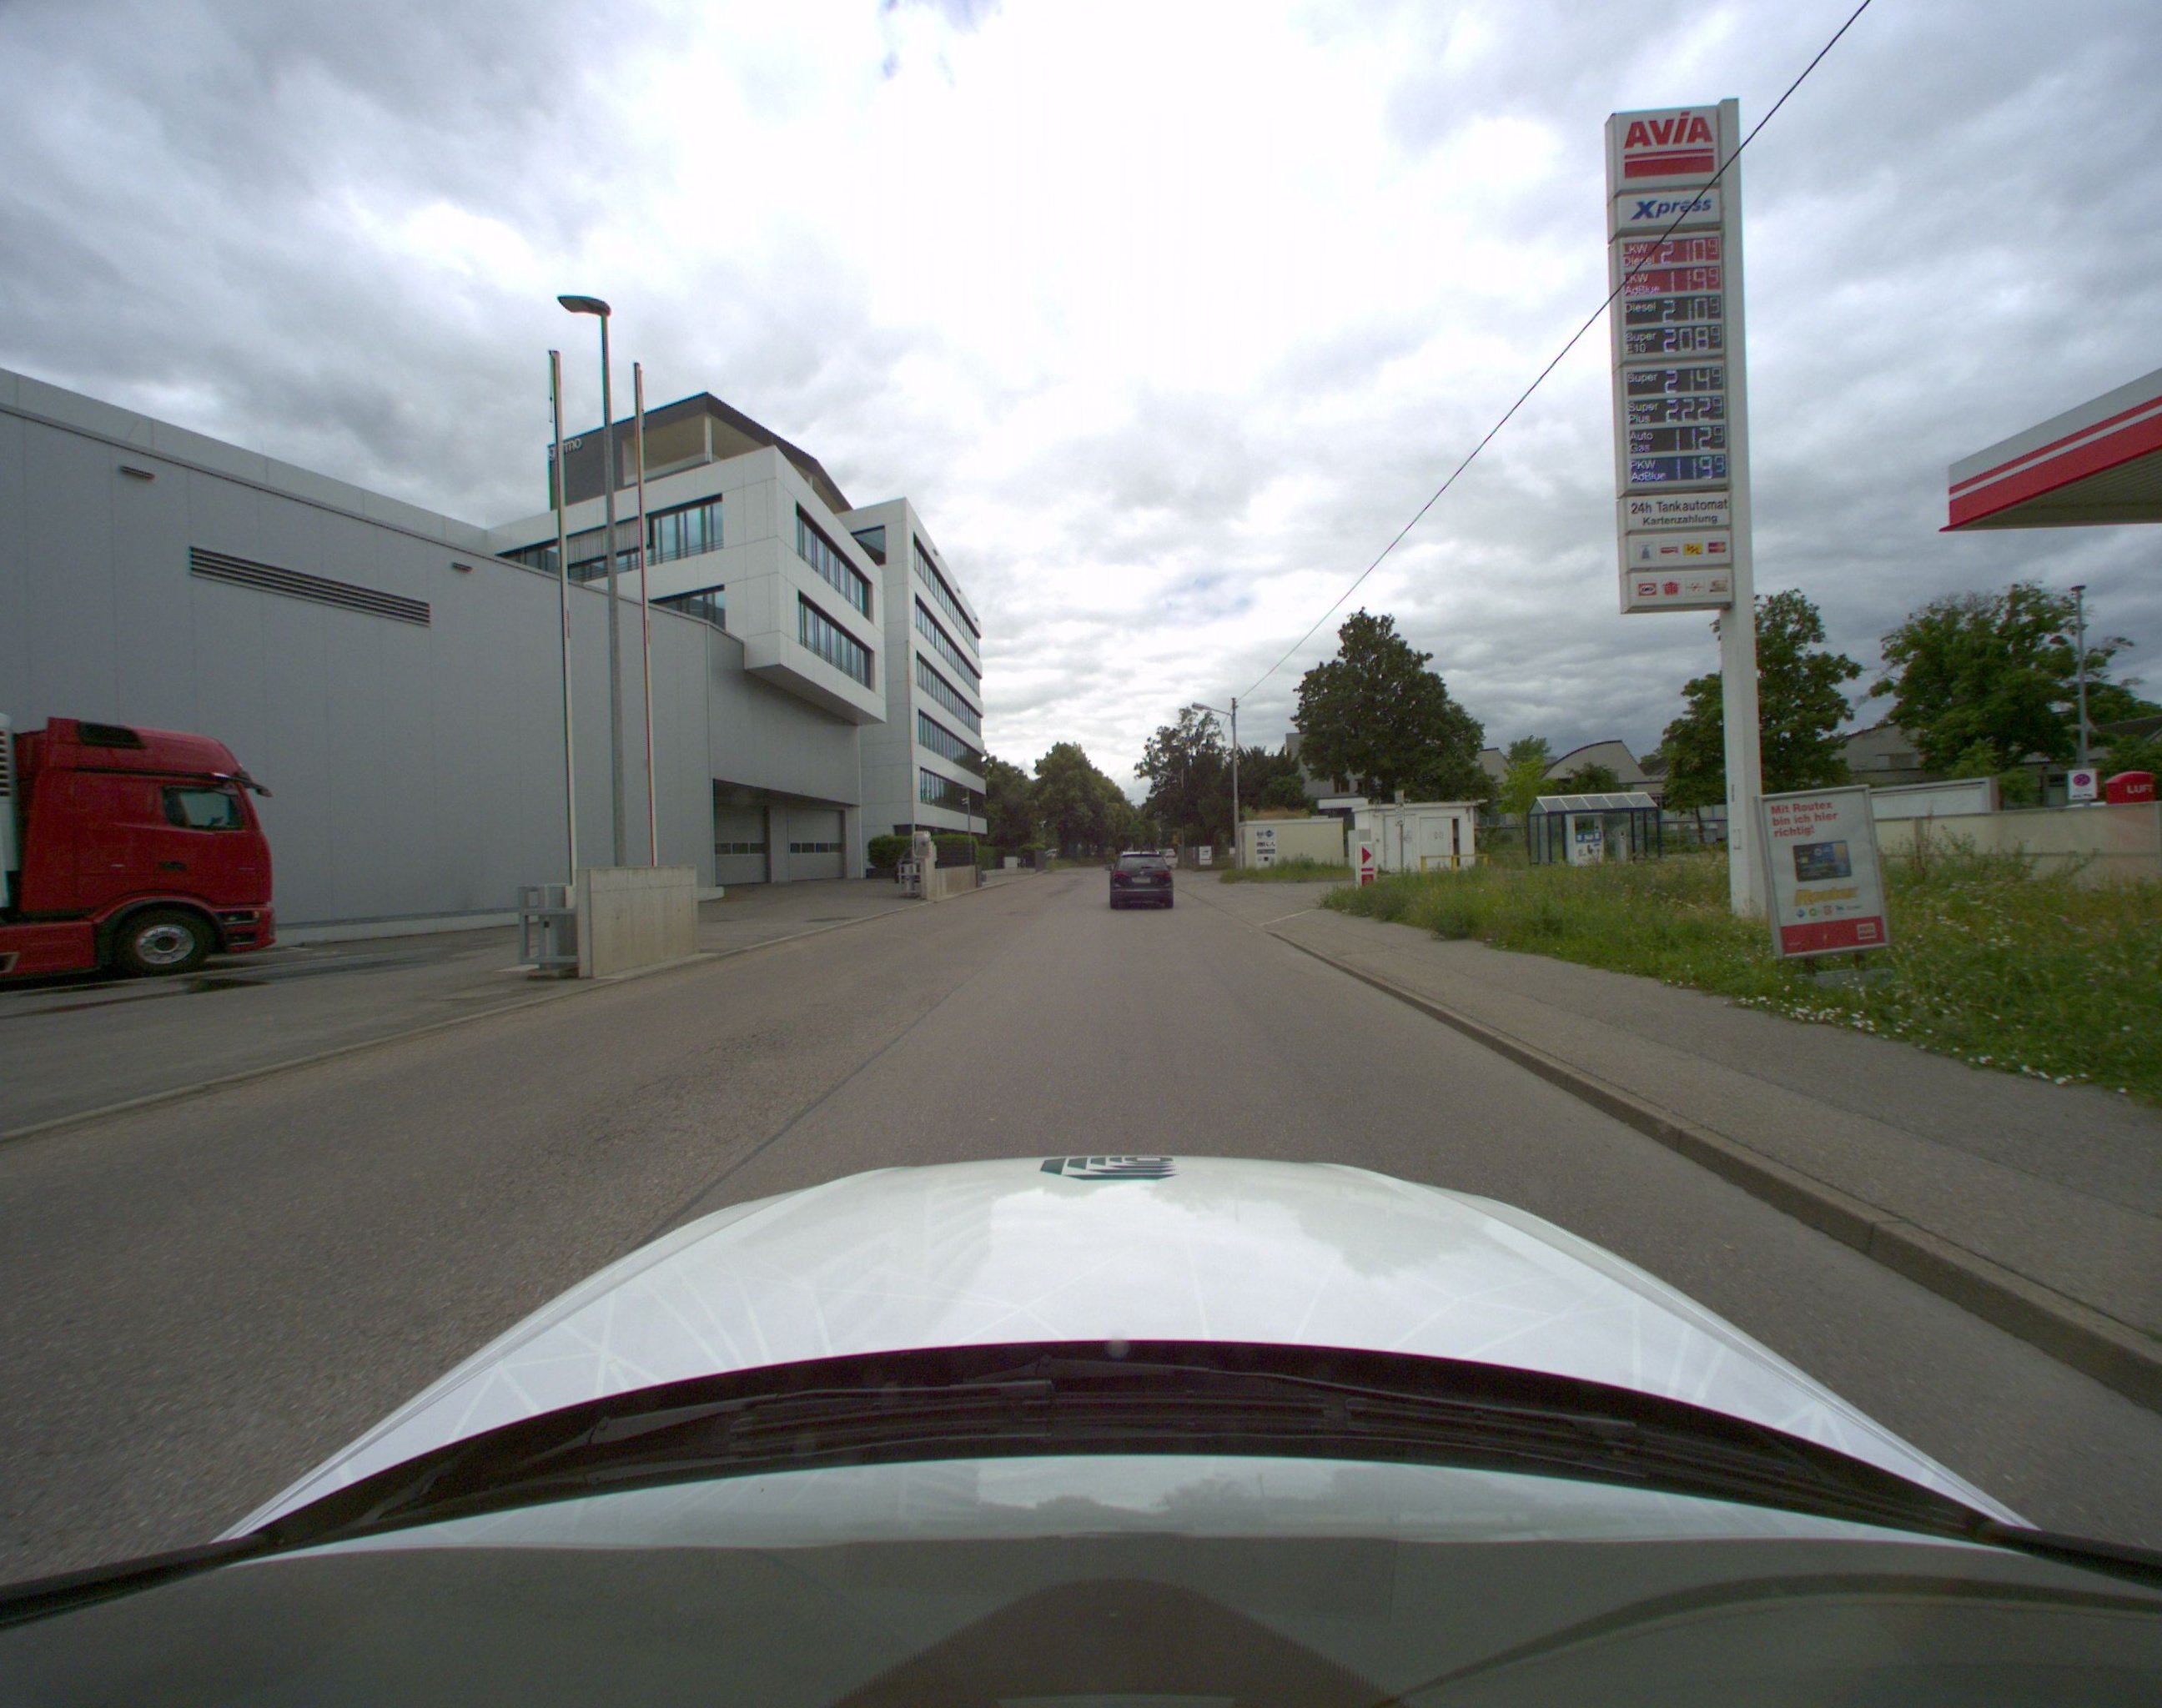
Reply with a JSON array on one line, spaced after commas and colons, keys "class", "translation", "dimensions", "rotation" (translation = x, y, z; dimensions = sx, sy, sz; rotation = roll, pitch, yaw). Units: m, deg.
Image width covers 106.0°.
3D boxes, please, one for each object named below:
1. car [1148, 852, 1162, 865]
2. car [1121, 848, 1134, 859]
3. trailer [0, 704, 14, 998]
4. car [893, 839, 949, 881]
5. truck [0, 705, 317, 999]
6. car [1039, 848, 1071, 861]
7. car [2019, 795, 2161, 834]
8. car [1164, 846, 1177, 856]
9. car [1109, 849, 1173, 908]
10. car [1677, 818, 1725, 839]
[{"class": "car", "translation": [9.514, 0.618, 104.831], "dimensions": [1.651, 1.574, 3.832], "rotation": [-3, 0, 4]}, {"class": "car", "translation": [7.309, -0.080, 127.710], "dimensions": [1.798, 1.764, 4.214], "rotation": [-1, 0, 7]}, {"class": "trailer", "translation": [-18.507, 0.100, 5.913], "dimensions": [2.718, 4.030, 12.688], "rotation": [-1, 1, 23]}, {"class": "car", "translation": [-7.084, 0.257, 36.235], "dimensions": [1.643, 1.762, 3.182], "rotation": [0, 0, 4]}, {"class": "truck", "translation": [-16.112, 0.000, 11.532], "dimensions": [2.718, 4.030, 7.132], "rotation": [-1, 1, 23]}, {"class": "car", "translation": [-5.186, 0.127, 161.586], "dimensions": [6.042, 2.387, 2.398], "rotation": [-2, 0, 5]}, {"class": "car", "translation": [50.200, -1.938, 40.409], "dimensions": [1.954, 1.645, 4.655], "rotation": [-3, 0, 2]}, {"class": "car", "translation": [16.238, -0.519, 147.564], "dimensions": [1.981, 1.786, 4.011], "rotation": [-1, 0, 10]}, {"class": "car", "translation": [1.813, 0.694, 24.301], "dimensions": [1.731, 1.618, 3.646], "rotation": [-1, -1, 5]}, {"class": "car", "translation": [48.886, -2.012, 64.293], "dimensions": [1.888, 1.520, 4.086], "rotation": [-3, 1, 22]}]
